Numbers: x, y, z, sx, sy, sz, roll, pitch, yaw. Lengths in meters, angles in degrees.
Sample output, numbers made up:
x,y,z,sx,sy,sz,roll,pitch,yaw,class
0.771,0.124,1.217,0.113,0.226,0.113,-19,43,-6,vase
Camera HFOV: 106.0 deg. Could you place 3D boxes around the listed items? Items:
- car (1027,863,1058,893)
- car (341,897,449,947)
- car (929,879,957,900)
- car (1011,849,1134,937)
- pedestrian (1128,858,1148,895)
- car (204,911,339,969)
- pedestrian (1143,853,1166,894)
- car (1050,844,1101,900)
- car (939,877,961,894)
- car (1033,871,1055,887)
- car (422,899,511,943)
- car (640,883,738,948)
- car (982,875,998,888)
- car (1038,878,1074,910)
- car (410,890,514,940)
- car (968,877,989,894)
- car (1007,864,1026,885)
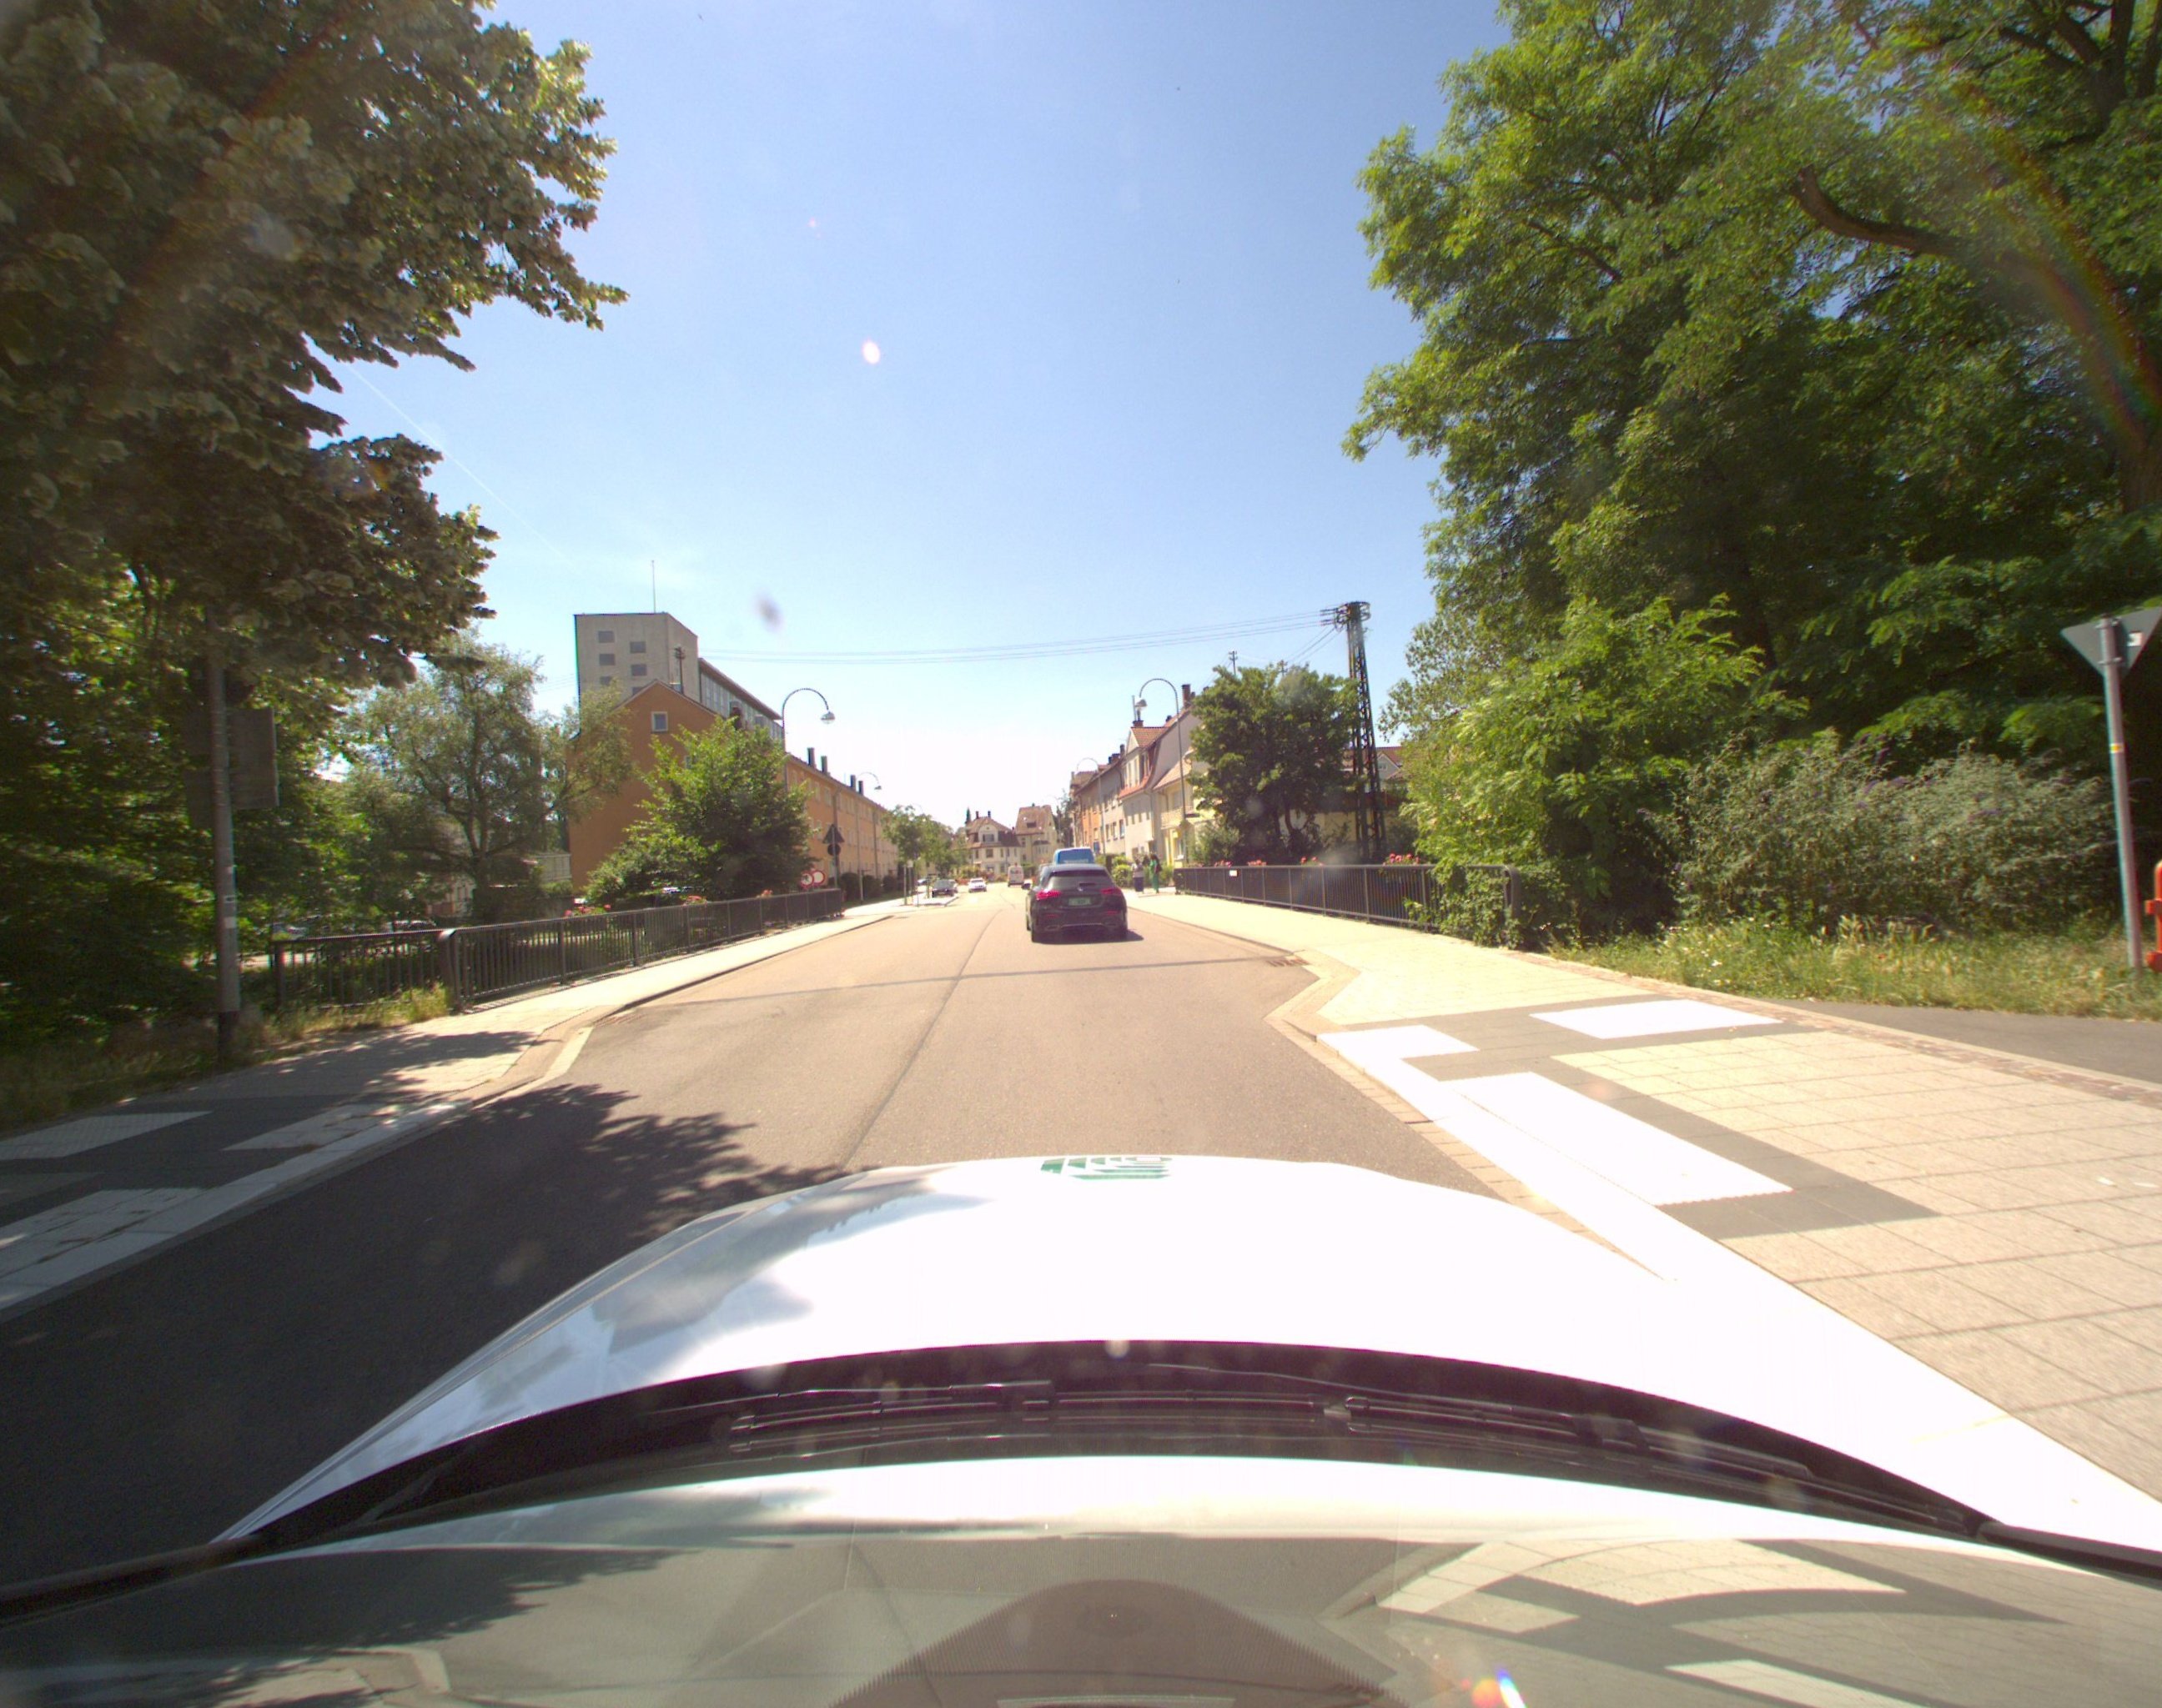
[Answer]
x,y,z,sx,sy,sz,roll,pitch,yaw,class
-2.917,1.742,60.504,1.991,2.013,3.992,-3,0,-6,car
-32.755,3.203,39.036,1.992,2.014,3.990,-3,-1,-7,car
-11.897,3.059,70.399,1.990,1.660,3.993,-1,-1,-5,car
-0.314,0.817,16.442,1.828,1.442,3.986,-4,-3,-9,car
2.597,1.013,37.077,0.614,1.612,0.835,-3,-1,-10,pedestrian
-34.567,3.622,34.953,1.992,2.014,3.990,-3,-1,-7,car
3.262,0.874,36.174,0.663,1.741,0.696,-3,-1,-23,pedestrian
-0.361,0.898,40.929,2.129,2.541,4.641,-3,-1,-4,car
-14.004,3.326,87.294,1.990,1.660,3.993,-1,-1,-5,car
-3.758,2.470,81.755,1.991,1.392,4.320,-3,0,-6,car
-32.934,3.549,43.787,1.992,2.014,3.990,-3,-1,-7,car
-14.585,2.240,30.554,1.992,2.013,3.990,-3,0,-7,car
-12.103,3.674,108.319,1.990,1.660,3.993,-1,-1,-5,car
-1.671,2.585,53.137,1.991,1.745,4.320,-3,0,-6,car
-29.625,2.872,39.159,1.989,2.013,3.995,-3,0,-4,car
-10.814,3.300,85.775,1.990,1.660,3.993,-1,-1,-5,car
-8.074,2.550,101.934,2.241,2.343,4.844,-2,0,-5,car
